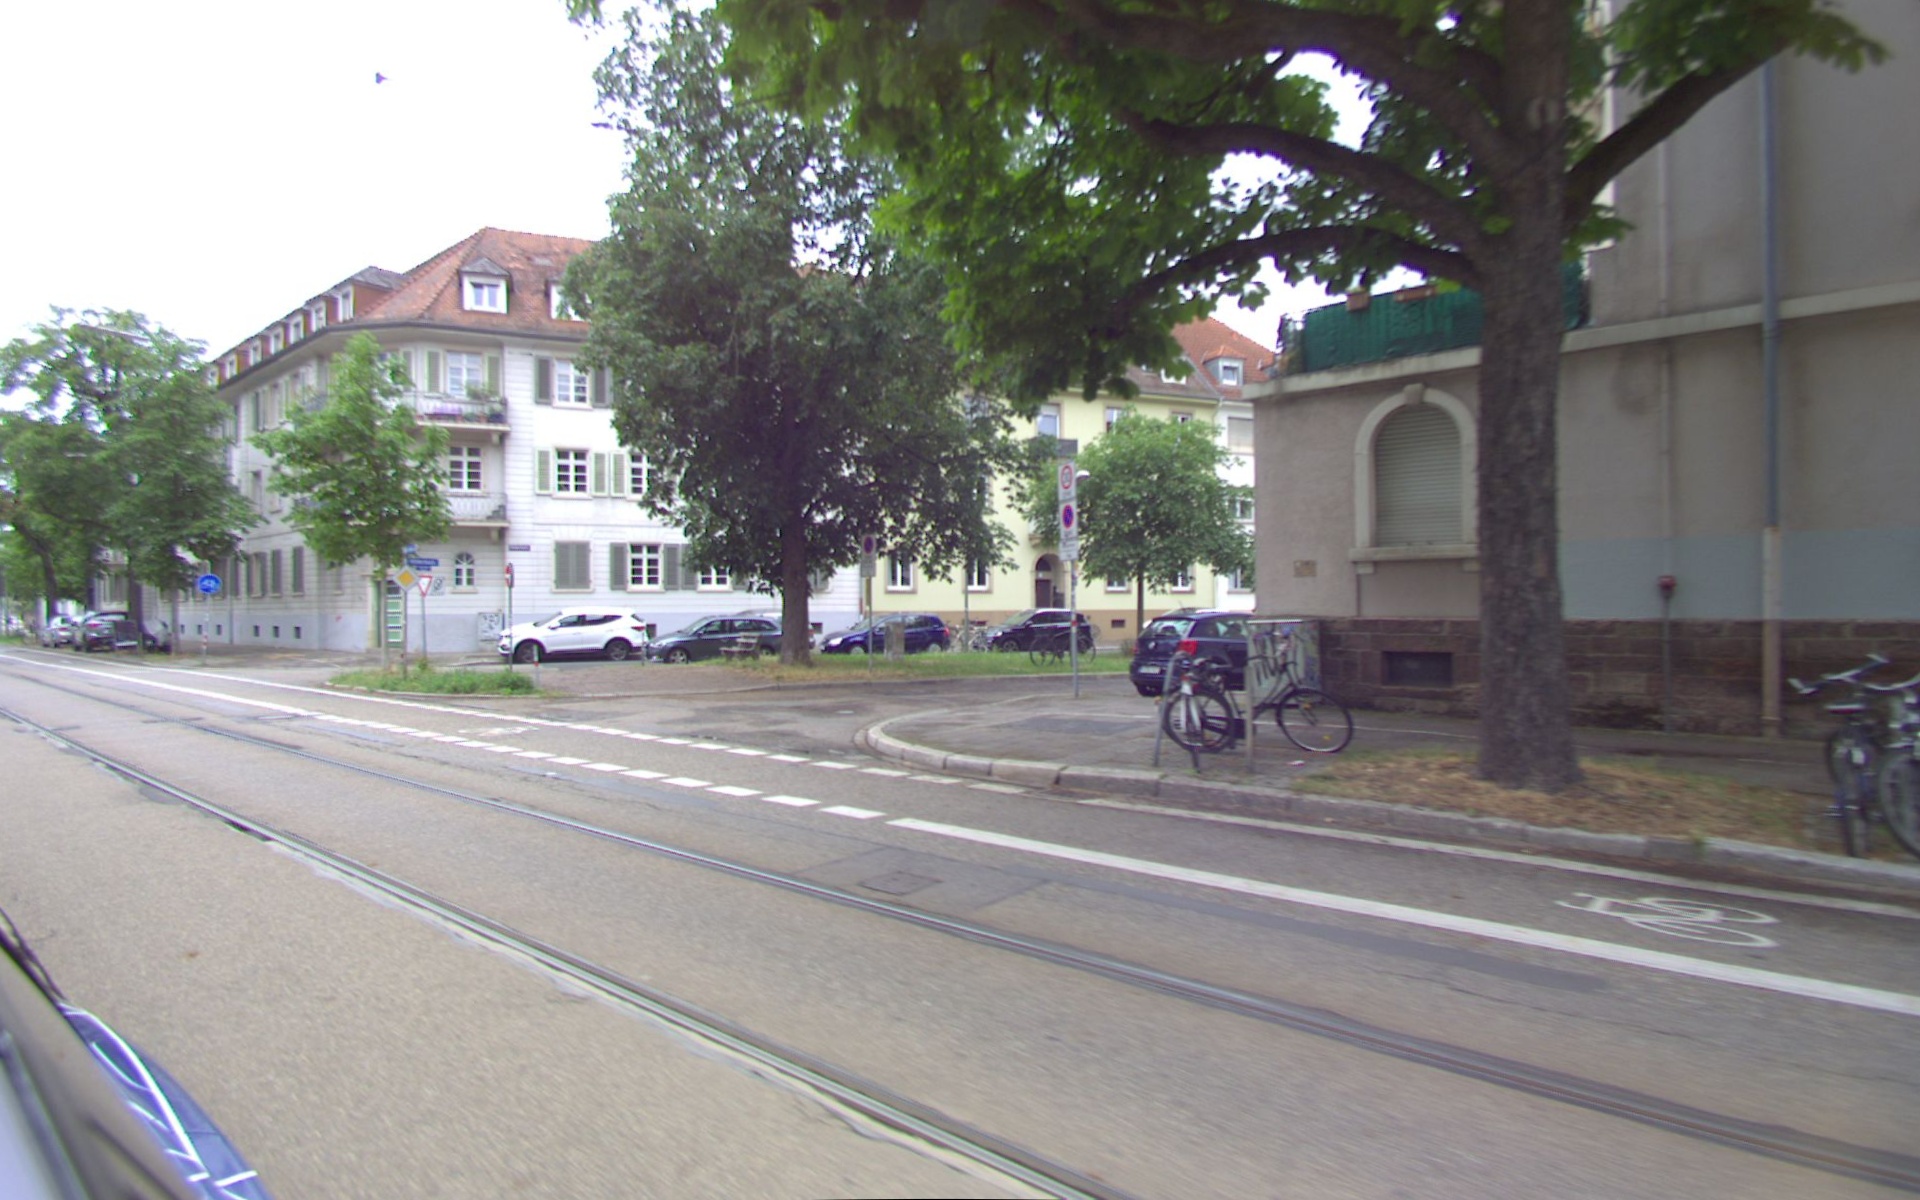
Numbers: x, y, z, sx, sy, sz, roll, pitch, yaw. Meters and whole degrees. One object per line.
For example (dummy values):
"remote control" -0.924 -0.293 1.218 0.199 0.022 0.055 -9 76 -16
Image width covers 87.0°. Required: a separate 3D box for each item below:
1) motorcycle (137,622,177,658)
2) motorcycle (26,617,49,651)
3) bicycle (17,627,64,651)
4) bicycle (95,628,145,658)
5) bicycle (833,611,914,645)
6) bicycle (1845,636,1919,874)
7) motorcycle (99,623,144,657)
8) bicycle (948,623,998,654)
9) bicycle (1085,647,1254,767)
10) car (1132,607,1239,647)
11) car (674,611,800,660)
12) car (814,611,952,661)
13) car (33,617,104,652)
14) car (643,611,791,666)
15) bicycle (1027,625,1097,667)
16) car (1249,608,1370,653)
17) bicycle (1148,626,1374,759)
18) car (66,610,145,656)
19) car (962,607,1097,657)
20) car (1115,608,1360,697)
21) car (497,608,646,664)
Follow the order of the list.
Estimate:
"motorcycle" -29.175 1.432 36.752 2.137 1.267 0.535 -1 -1 34
"motorcycle" -46.872 1.707 51.453 0.822 1.655 2.483 0 -1 -41
"bicycle" -48.416 2.042 53.302 1.718 1.137 0.519 -3 0 -32
"bicycle" -31.807 1.604 38.326 0.930 1.012 1.361 -2 2 45
"bicycle" -3.412 1.087 39.965 3.072 1.238 0.886 -1 2 -23
"bicycle" 5.640 0.830 5.927 0.623 1.129 1.903 -1 1 40
"motorcycle" -32.390 1.547 39.103 1.270 1.231 0.548 -2 0 -43
"bicycle" 0.401 1.146 30.355 1.371 0.903 0.582 0 -1 -22
"bicycle" 1.858 0.918 9.036 1.393 0.965 0.479 -1 -1 33
"car" 9.398 1.108 42.221 4.080 1.563 1.778 0 0 -24
"car" -7.711 1.177 35.043 3.978 1.524 1.744 -1 0 -23
"car" -2.387 1.077 31.428 3.940 1.356 1.671 -1 0 -23
"car" -41.170 1.563 46.707 4.610 1.477 1.793 -1 0 40
"car" -7.101 1.082 29.529 4.000 1.421 1.667 -1 0 -21
"bicycle" 2.456 1.094 24.312 1.645 0.932 0.450 -1 2 -21
"car" 13.100 1.122 37.938 4.116 1.564 1.808 0 -2 -23
"bicycle" 2.805 0.842 9.465 1.925 1.144 0.671 -2 -2 24
"car" -34.896 1.333 41.307 4.292 1.673 1.818 -2 1 42
"car" 2.308 1.022 33.586 4.117 1.491 1.708 -1 0 -23
"car" 4.619 0.802 16.827 3.696 1.317 1.747 0 -1 -26
"car" -12.684 1.148 33.054 4.438 1.675 1.945 0 -1 -24
